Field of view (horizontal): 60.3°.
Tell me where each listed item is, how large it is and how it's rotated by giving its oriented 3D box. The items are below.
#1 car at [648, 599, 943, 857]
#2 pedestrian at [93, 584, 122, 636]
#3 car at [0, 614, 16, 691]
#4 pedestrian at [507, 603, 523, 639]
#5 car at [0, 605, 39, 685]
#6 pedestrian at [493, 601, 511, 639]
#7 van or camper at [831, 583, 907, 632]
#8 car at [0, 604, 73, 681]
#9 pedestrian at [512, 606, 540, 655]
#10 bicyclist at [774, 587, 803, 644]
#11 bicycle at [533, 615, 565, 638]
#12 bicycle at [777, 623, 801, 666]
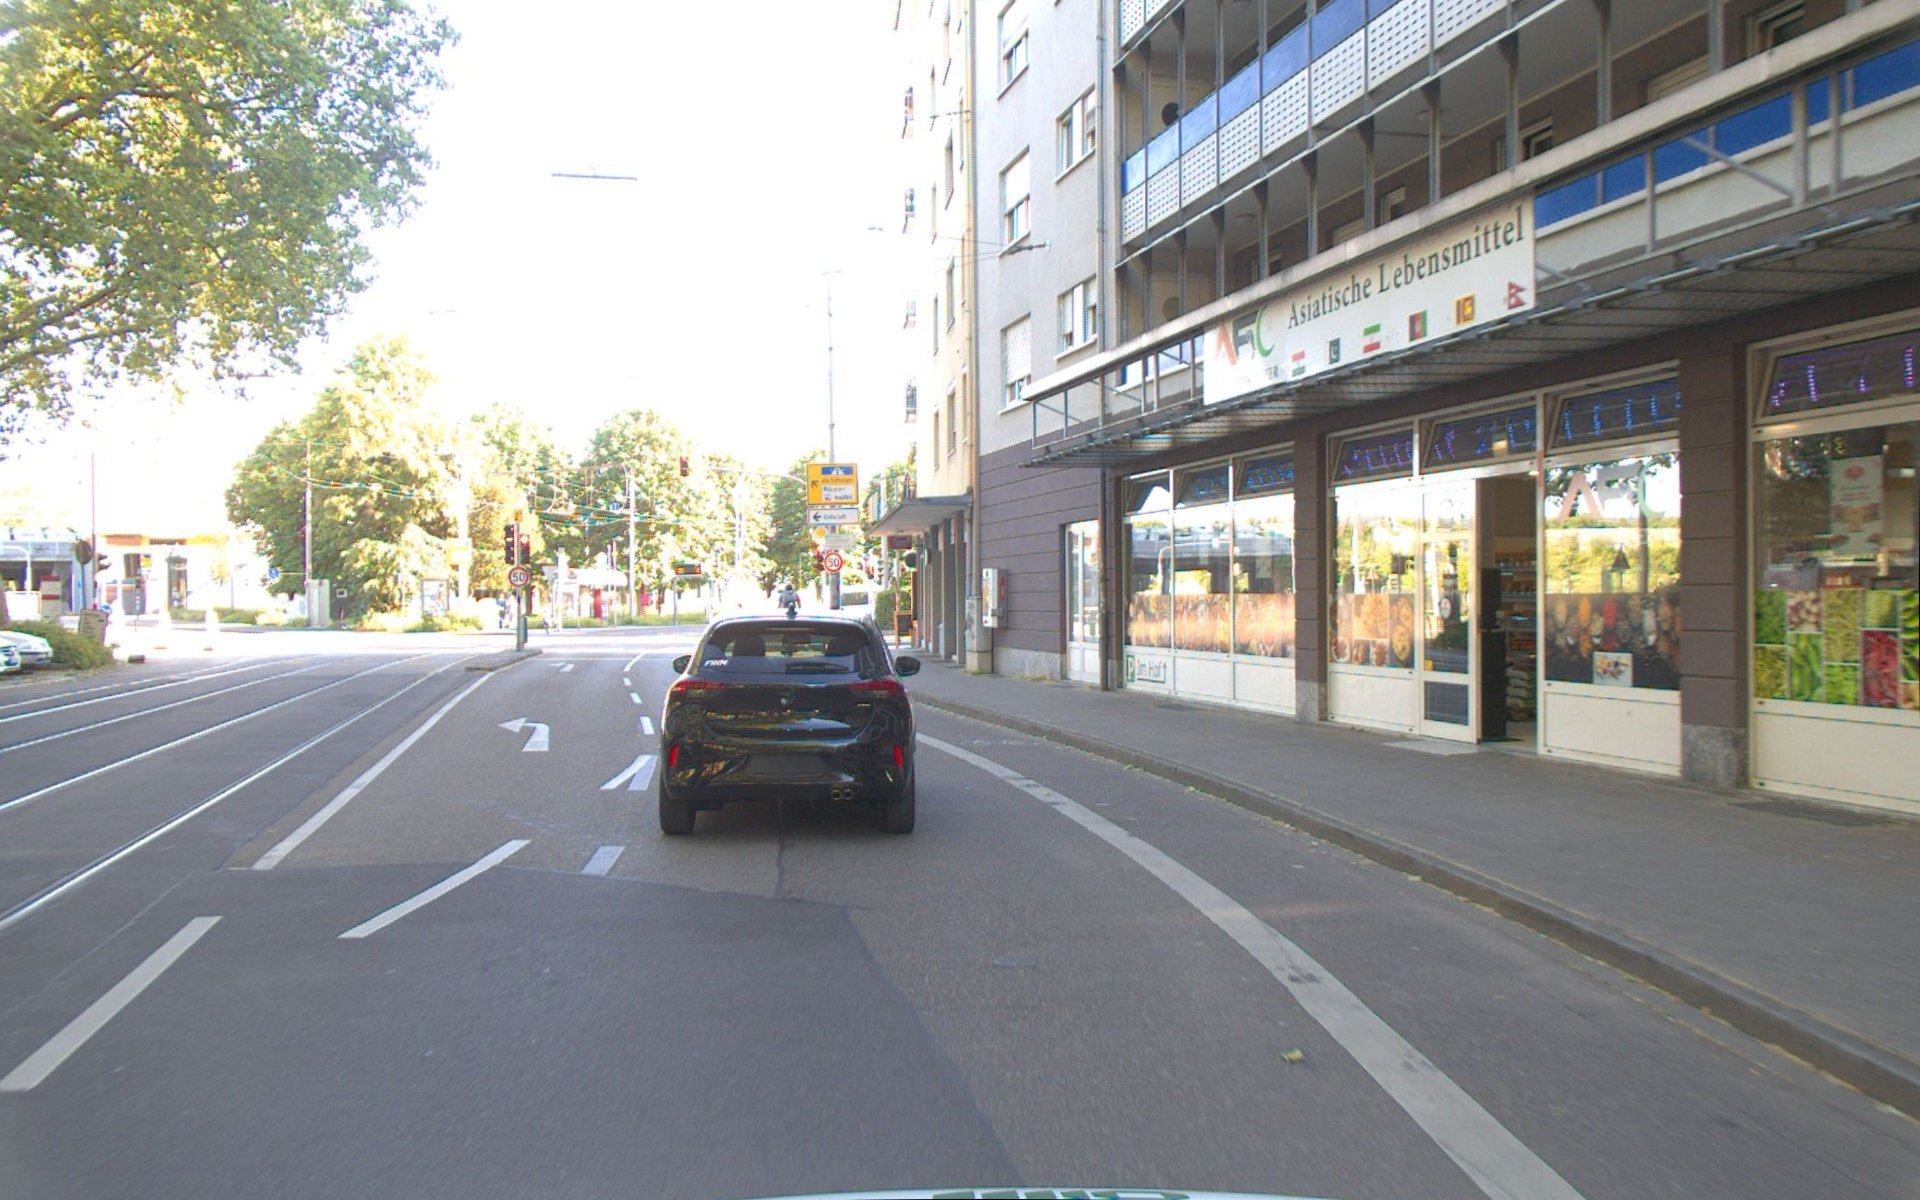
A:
[{"bbox_3d":[-1.187,0.761,11.881,1.747,1.522,3.995,0,0,-6],"label":"car"},{"bbox_3d":[-37.043,0.437,71.840,0.883,2.259,0.816,0,-1,42],"label":"pedestrian"},{"bbox_3d":[-21.111,1.029,32.655,3.918,1.541,1.644,1,-1,-13],"label":"car"},{"bbox_3d":[-23.330,1.099,86.680,0.603,1.886,0.584,1,-1,11],"label":"pedestrian"},{"bbox_3d":[-22.189,0.964,35.281,4.102,1.700,1.955,0,0,-17],"label":"car"},{"bbox_3d":[-24.019,1.041,86.672,0.643,1.966,0.609,0,-1,18],"label":"pedestrian"},{"bbox_3d":[-4.192,0.352,77.059,2.122,2.183,4.508,1,-1,16],"label":"van or camper"},{"bbox_3d":[-22.745,0.968,37.703,4.102,1.700,1.955,-1,0,-17],"label":"car"},{"bbox_3d":[-12.558,0.882,47.850,0.640,1.387,0.645,0,0,-1],"label":"pedestrian"},{"bbox_3d":[-4.454,0.404,42.907,0.691,1.461,0.702,0,0,-2],"label":"bicyclist"},{"bbox_3d":[-18.597,1.176,74.818,0.772,1.009,2.244,1,-1,3],"label":"bicycle"},{"bbox_3d":[-4.429,1.140,42.951,0.498,1.086,1.564,0,0,-2],"label":"bicycle"}]
